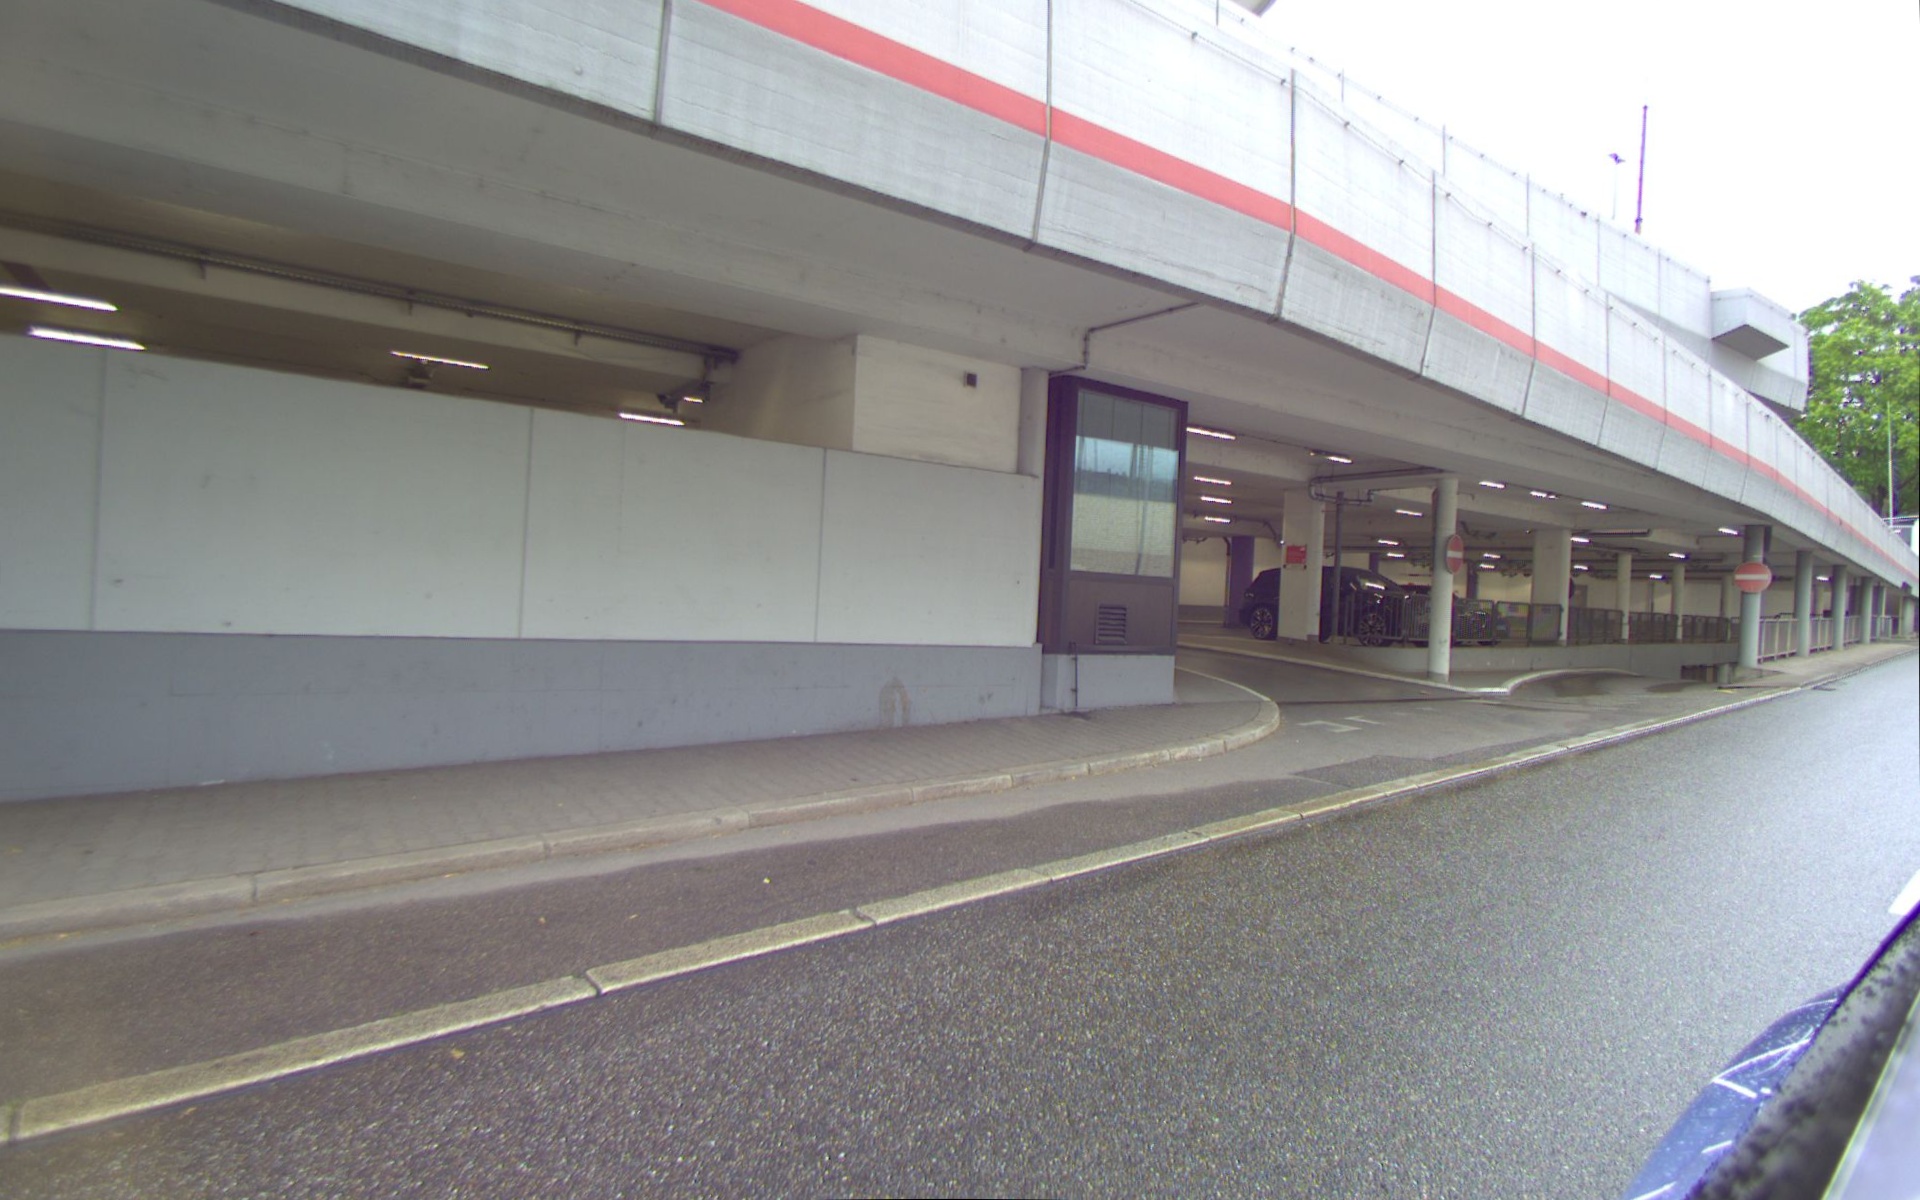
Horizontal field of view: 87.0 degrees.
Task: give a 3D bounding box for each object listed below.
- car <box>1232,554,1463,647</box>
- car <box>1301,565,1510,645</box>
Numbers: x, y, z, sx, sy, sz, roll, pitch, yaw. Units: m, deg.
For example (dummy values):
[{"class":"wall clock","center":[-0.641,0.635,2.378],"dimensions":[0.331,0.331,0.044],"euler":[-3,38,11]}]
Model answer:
[{"class":"car","center":[8.177,-0.017,21.728],"dimensions":[1.960,1.682,4.261],"euler":[5,-2,-31]},{"class":"car","center":[10.776,0.091,24.769],"dimensions":[1.960,1.682,4.261],"euler":[5,-2,-31]}]
